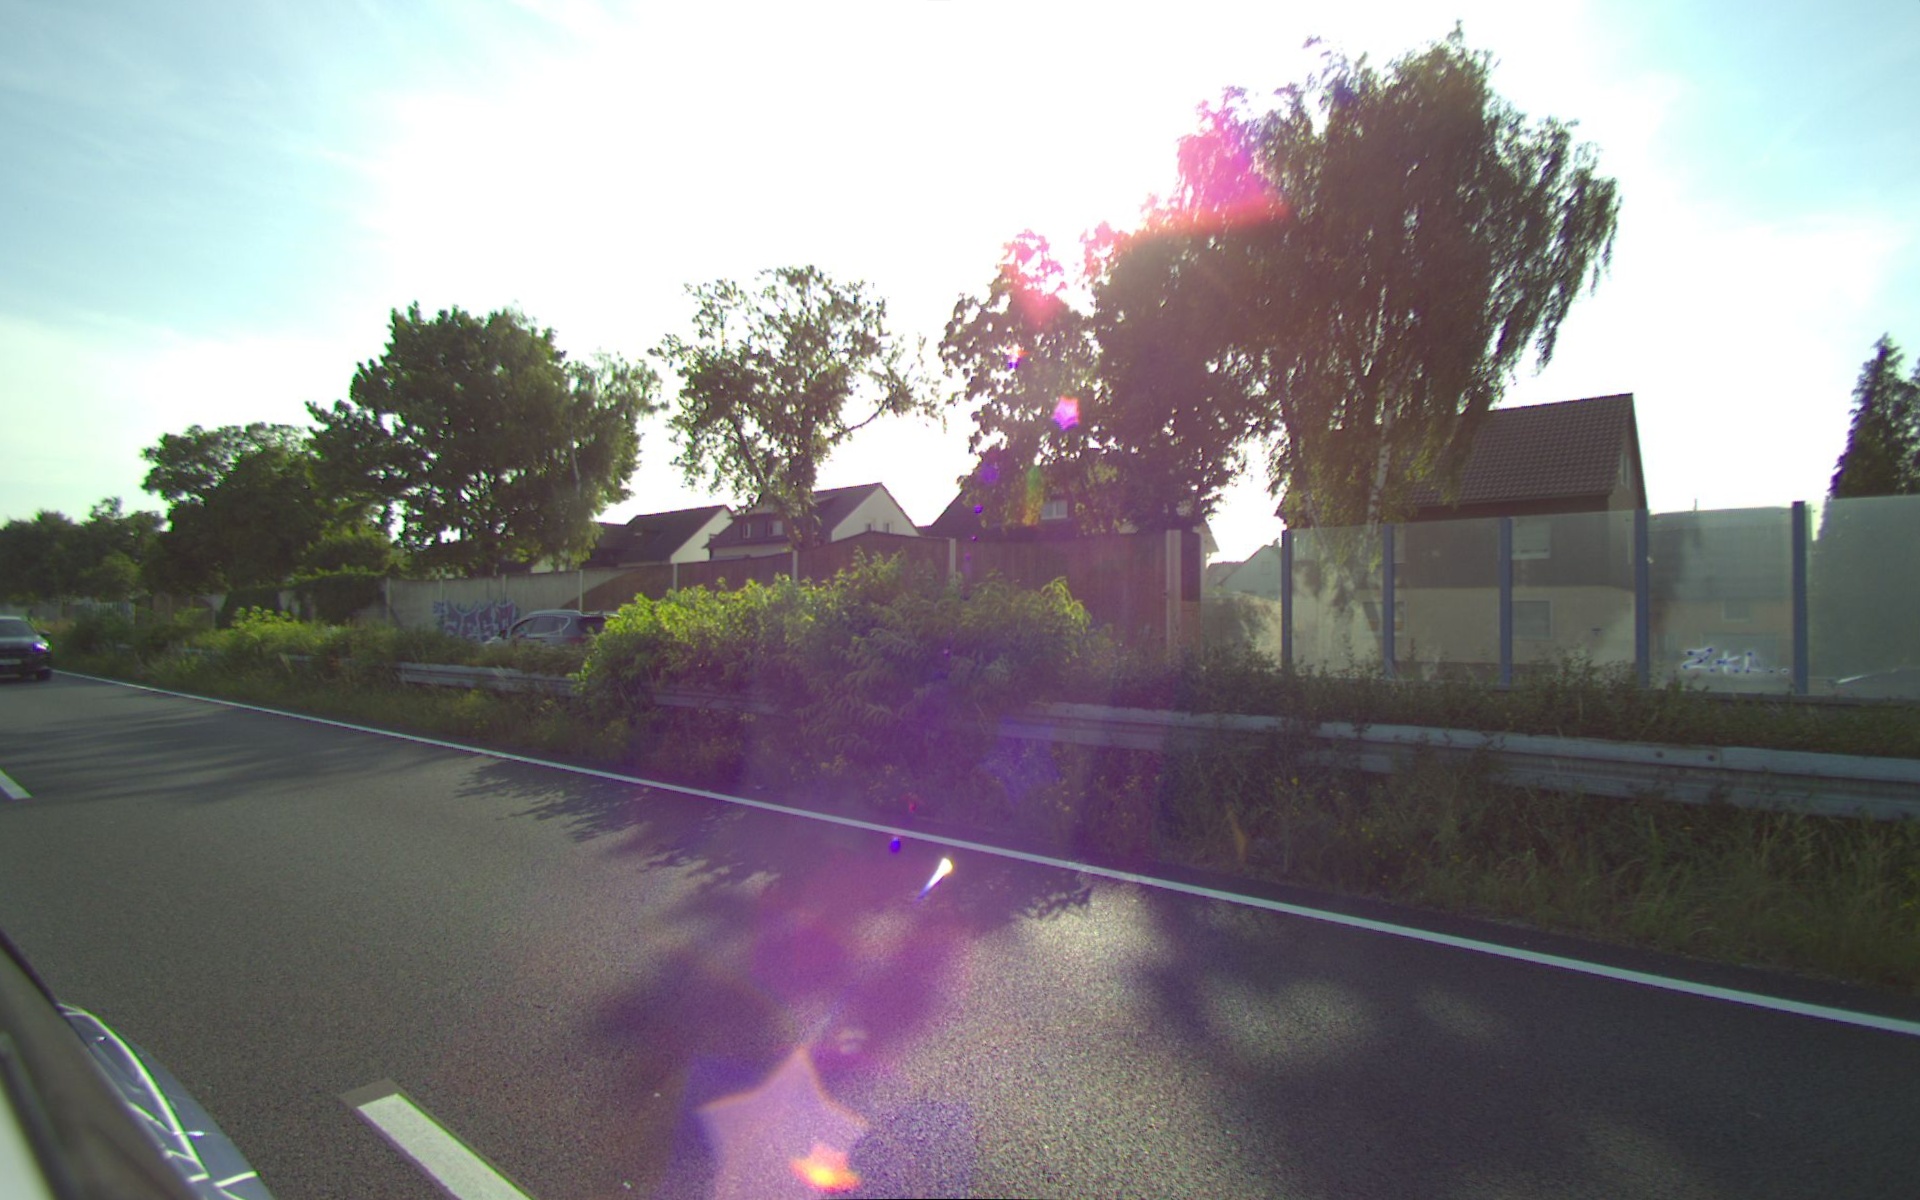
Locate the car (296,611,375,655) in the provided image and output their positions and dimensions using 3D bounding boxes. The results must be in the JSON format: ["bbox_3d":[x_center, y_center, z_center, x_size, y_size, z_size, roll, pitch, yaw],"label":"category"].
[{"bbox_3d":[-25.224,1.281,40.840,3.333,1.674,1.788,-1,0,41],"label":"car"}]

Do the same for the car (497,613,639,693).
[{"bbox_3d":[-8.004,1.025,20.570,3.145,1.473,1.402,-1,0,41],"label":"car"}]

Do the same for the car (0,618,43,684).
[{"bbox_3d":[-24.236,1.232,25.075,4.245,1.536,1.798,-1,0,41],"label":"car"}]

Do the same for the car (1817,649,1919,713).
[{"bbox_3d":[19.782,1.681,21.103,2.896,1.185,1.556,-1,0,40],"label":"car"}]
